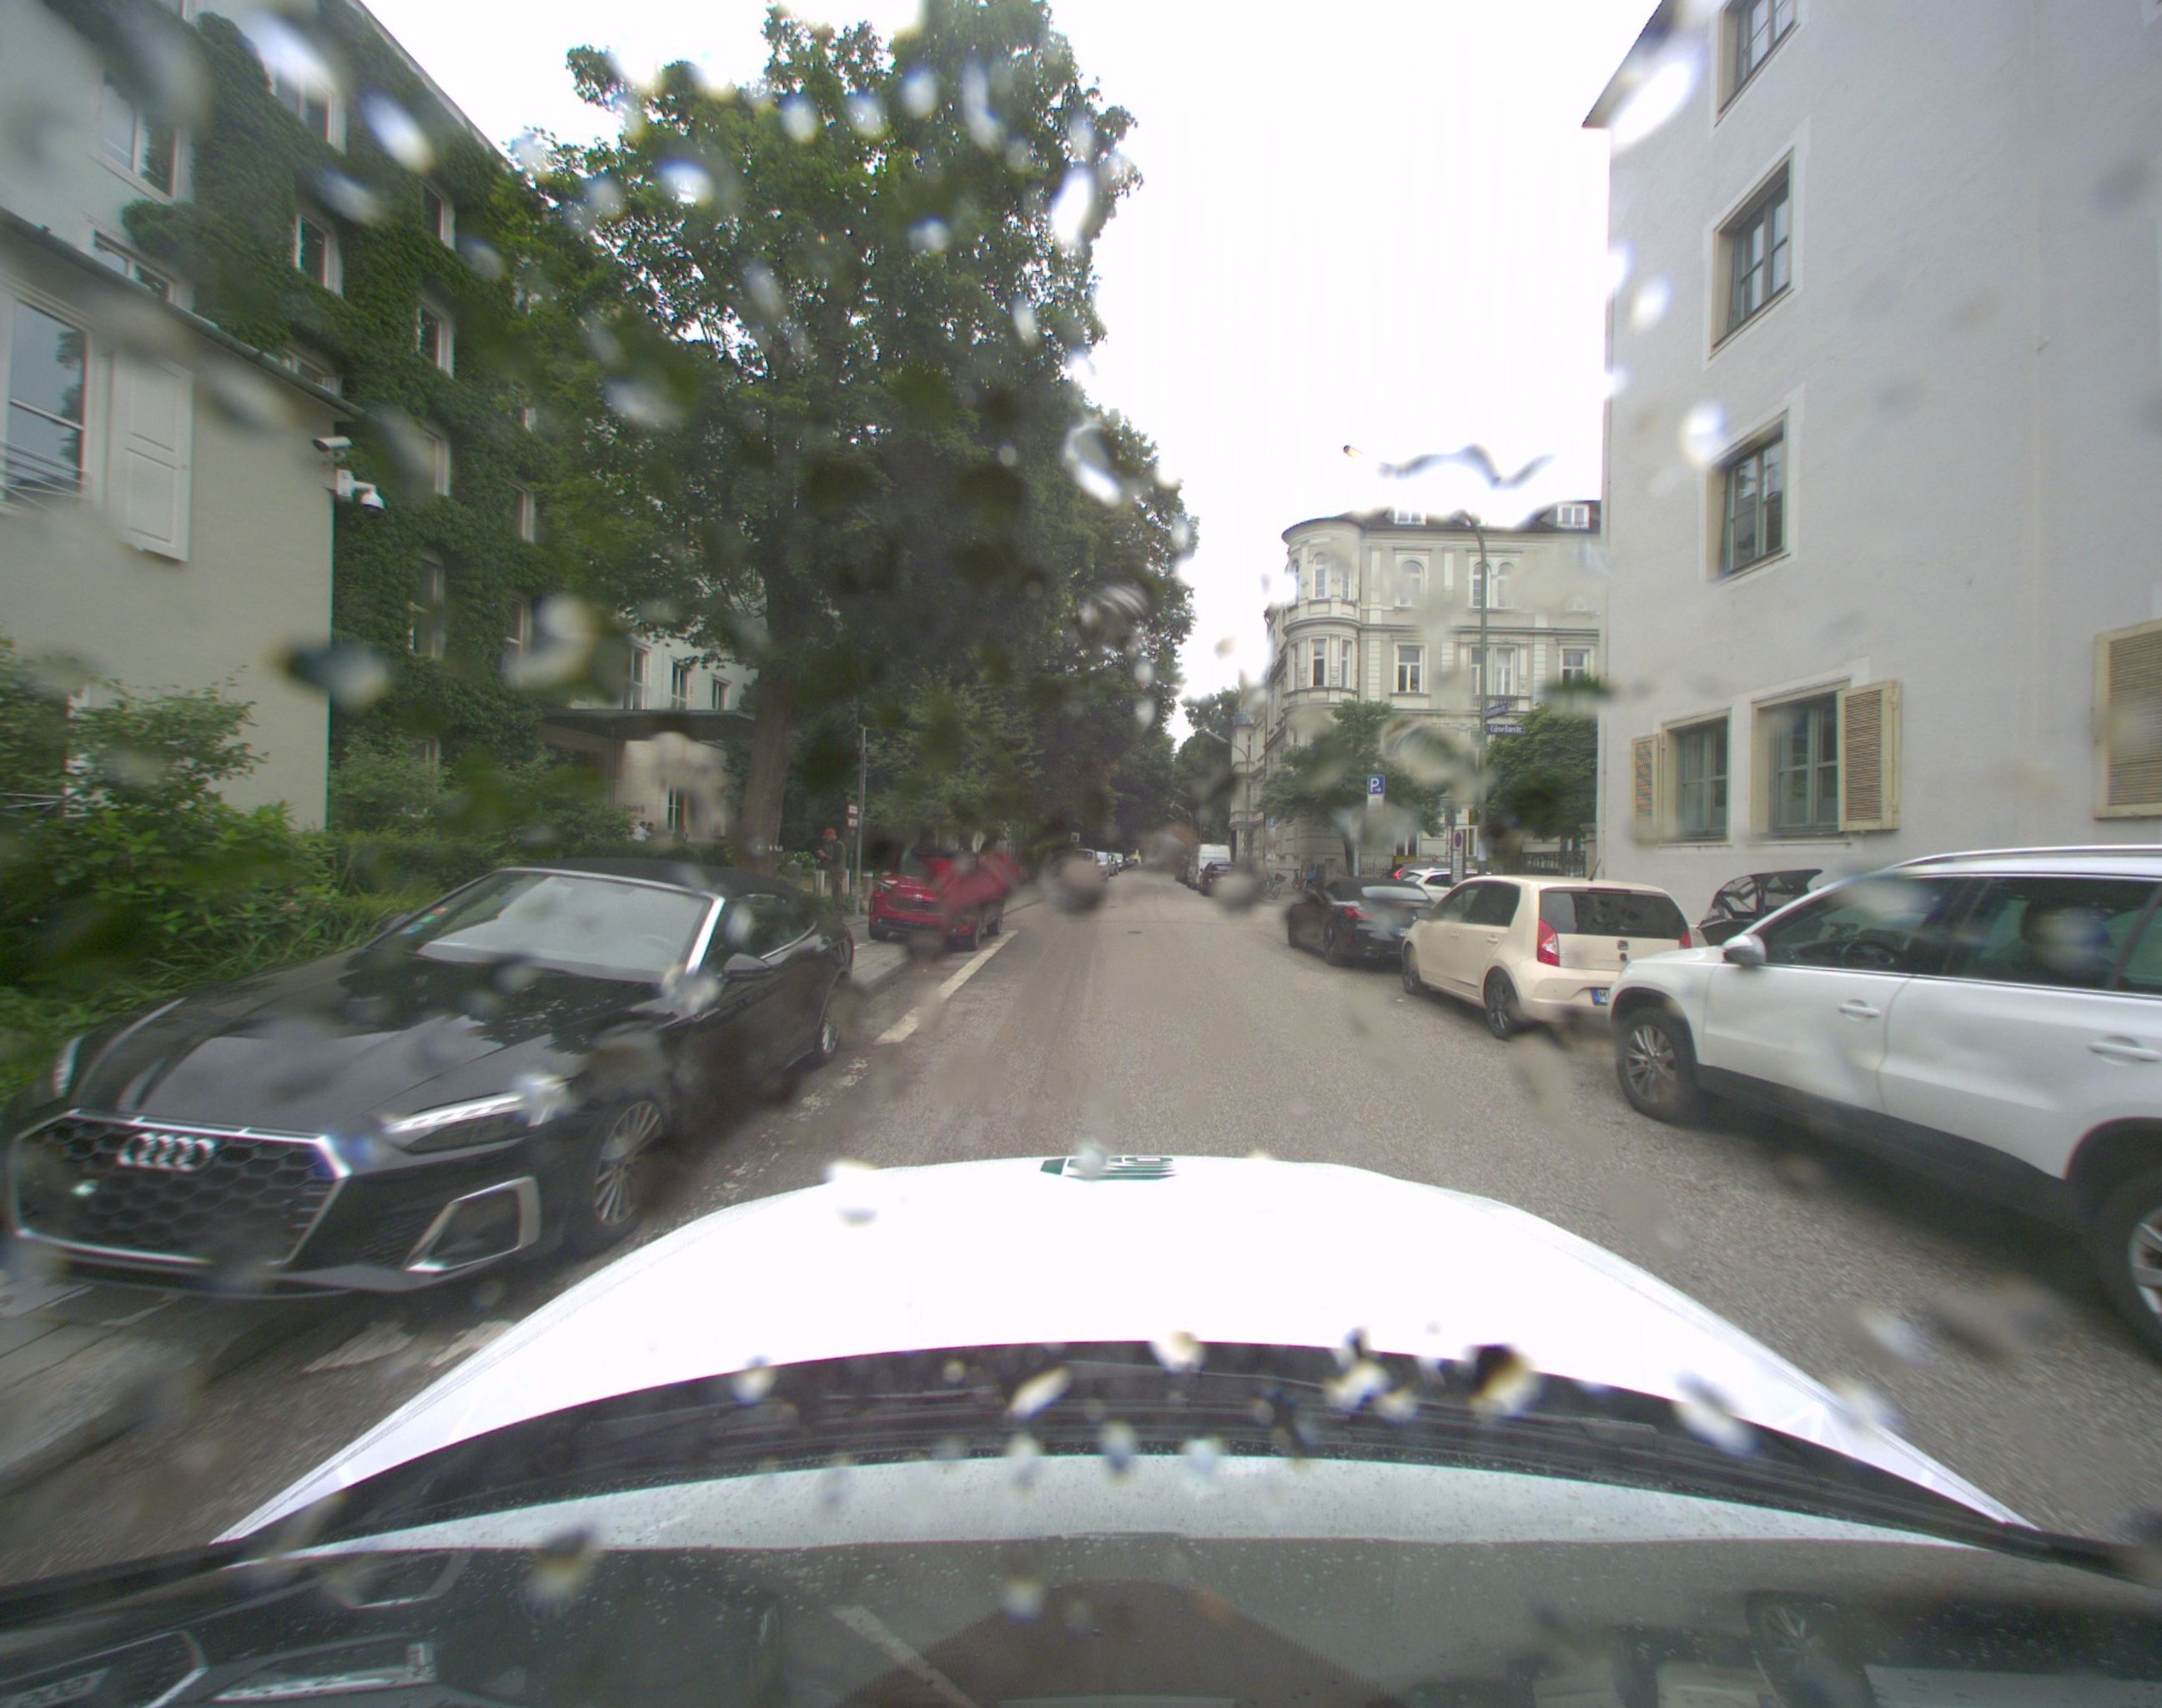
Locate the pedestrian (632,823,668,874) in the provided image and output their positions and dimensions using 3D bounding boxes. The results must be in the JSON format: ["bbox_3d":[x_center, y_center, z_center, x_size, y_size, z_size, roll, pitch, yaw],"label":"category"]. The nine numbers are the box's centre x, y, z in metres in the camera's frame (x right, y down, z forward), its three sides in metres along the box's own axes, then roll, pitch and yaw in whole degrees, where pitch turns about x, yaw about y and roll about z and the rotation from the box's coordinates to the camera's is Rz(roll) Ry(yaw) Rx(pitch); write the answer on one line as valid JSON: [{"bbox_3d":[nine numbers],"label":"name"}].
[{"bbox_3d":[-15.211,-0.177,28.757,0.748,1.753,0.900,1,-2,-1],"label":"pedestrian"}]

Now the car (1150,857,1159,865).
[{"bbox_3d":[16.780,1.540,185.957,1.983,1.783,4.007,1,0,6],"label":"car"}]

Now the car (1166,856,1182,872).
[{"bbox_3d":[11.906,1.285,104.487,1.983,2.014,4.007,1,0,6],"label":"car"}]

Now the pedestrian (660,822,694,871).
[{"bbox_3d":[-14.927,-0.259,30.103,0.748,1.753,0.900,1,-2,-1],"label":"pedestrian"}]

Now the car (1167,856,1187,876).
[{"bbox_3d":[10.026,1.234,85.358,1.983,1.975,4.007,1,0,6],"label":"car"}]

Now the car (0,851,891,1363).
[{"bbox_3d":[-2.593,0.742,4.792,1.802,1.402,4.921,3,0,-1],"label":"car"}]

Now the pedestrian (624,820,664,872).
[{"bbox_3d":[-14.976,-0.279,27.920,0.895,1.753,0.752,1,-1,0],"label":"pedestrian"}]

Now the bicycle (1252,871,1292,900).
[{"bbox_3d":[7.464,1.209,31.889,0.654,1.028,2.193,1,1,-11],"label":"bicycle"}]

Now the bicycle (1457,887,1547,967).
[{"bbox_3d":[6.481,1.085,12.637,0.659,1.063,1.943,1,0,9],"label":"bicycle"}]

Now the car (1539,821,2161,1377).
[{"bbox_3d":[4.390,0.808,3.829,1.986,1.707,4.536,3,0,2],"label":"car"}]

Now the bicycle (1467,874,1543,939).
[{"bbox_3d":[8.565,1.034,16.544,0.541,1.225,1.774,1,-1,-4],"label":"bicycle"}]

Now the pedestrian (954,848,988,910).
[{"bbox_3d":[-2.857,0.635,21.130,0.711,1.548,0.752,3,-1,-2],"label":"pedestrian"}]

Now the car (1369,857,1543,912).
[{"bbox_3d":[12.608,1.070,27.609,5.019,1.653,1.944,2,-4,1],"label":"car"}]

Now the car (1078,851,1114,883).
[{"bbox_3d":[1.029,0.821,54.340,2.176,1.956,5.168,3,0,1],"label":"car"}]

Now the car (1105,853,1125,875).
[{"bbox_3d":[3.644,1.102,87.281,1.994,2.186,4.700,3,0,3],"label":"car"}]

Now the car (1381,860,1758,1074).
[{"bbox_3d":[4.627,0.921,8.448,1.763,1.546,3.715,6,0,4],"label":"car"}]

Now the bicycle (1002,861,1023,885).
[{"bbox_3d":[-3.296,0.895,39.110,0.629,1.102,1.770,2,-1,6],"label":"bicycle"}]

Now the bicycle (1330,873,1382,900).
[{"bbox_3d":[10.993,1.301,32.602,1.913,1.028,0.558,1,1,6],"label":"bicycle"}]

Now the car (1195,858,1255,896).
[{"bbox_3d":[6.179,0.955,35.432,2.261,1.546,4.594,0,-1,6],"label":"car"}]

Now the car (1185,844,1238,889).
[{"bbox_3d":[6.718,0.657,42.388,2.195,2.208,4.858,0,-1,2],"label":"car"}]

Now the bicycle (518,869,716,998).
[{"bbox_3d":[-4.718,0.746,8.490,0.646,1.130,2.052,1,0,8],"label":"bicycle"}]

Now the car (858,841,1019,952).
[{"bbox_3d":[-2.322,0.654,14.529,1.880,1.590,4.529,3,0,1],"label":"car"}]

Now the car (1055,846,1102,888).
[{"bbox_3d":[-0.042,0.676,42.650,2.239,1.956,5.455,3,0,1],"label":"car"}]

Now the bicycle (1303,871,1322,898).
[{"bbox_3d":[9.660,1.268,34.002,0.427,1.028,1.893,1,1,6],"label":"bicycle"}]

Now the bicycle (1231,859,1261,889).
[{"bbox_3d":[8.452,1.004,41.785,0.708,1.515,2.030,1,0,-13],"label":"bicycle"}]

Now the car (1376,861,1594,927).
[{"bbox_3d":[10.709,1.032,21.872,4.888,1.531,1.914,1,2,1],"label":"car"}]

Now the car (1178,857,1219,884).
[{"bbox_3d":[7.335,1.027,51.215,2.129,1.630,4.318,0,-1,2],"label":"car"}]

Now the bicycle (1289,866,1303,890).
[{"bbox_3d":[9.909,1.080,37.554,0.542,1.060,1.757,1,0,13],"label":"bicycle"}]

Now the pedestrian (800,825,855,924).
[{"bbox_3d":[-4.945,0.393,15.910,0.710,1.852,0.797,2,-1,2],"label":"pedestrian"}]

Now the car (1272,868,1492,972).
[{"bbox_3d":[4.612,0.938,13.329,1.992,1.319,4.597,-1,0,1],"label":"car"}]

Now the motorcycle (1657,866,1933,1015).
[{"bbox_3d":[8.109,0.887,9.509,0.854,1.433,2.706,1,0,0],"label":"motorcycle"}]
